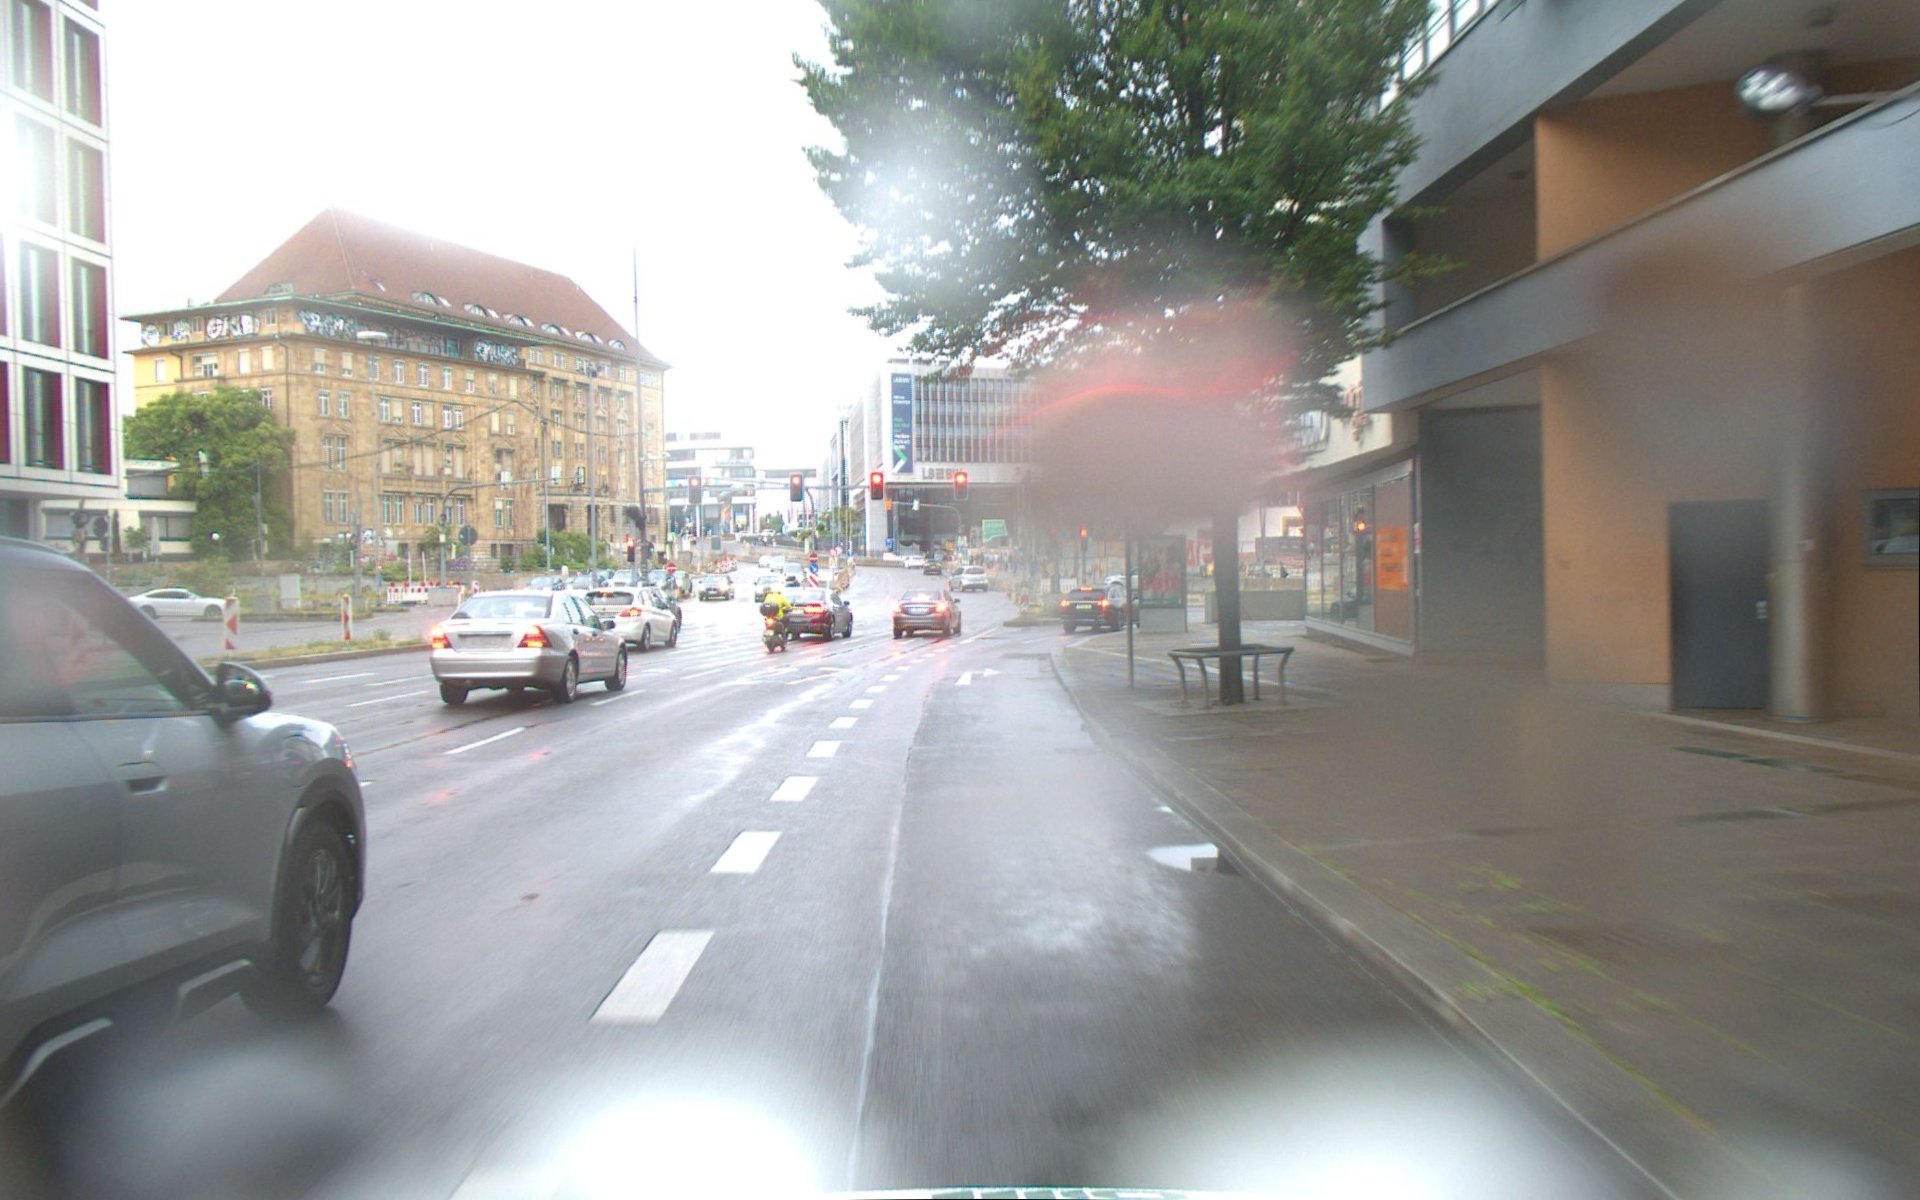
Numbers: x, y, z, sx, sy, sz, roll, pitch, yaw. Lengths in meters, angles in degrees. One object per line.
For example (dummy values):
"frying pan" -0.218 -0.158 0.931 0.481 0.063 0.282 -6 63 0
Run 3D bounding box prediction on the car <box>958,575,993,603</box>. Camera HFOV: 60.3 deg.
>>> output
"car" 0.968 -0.714 107.711 1.696 1.668 3.427 1 2 -10

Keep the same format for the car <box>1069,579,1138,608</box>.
"car" 8.486 -0.391 97.691 3.902 1.669 2.002 0 -1 12

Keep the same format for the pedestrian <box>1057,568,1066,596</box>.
"pedestrian" 7.044 -1.272 115.225 0.358 1.931 0.569 1 -1 -35

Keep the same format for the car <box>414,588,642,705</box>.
"car" -5.727 0.603 22.493 1.696 1.428 4.385 0 -1 4

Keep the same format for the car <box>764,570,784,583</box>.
"car" -20.584 -2.630 182.818 1.731 1.282 4.193 0 -1 0

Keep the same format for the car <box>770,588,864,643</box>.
"car" -4.176 0.462 49.058 1.847 1.541 5.005 0 -1 6

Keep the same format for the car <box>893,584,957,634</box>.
"car" -1.048 0.247 51.671 1.746 1.427 4.488 0 1 2

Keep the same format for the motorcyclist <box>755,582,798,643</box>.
"motorcyclist" -4.532 0.316 40.988 0.922 1.501 1.100 0 -1 1

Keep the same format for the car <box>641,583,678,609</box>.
"car" -18.951 -0.238 104.337 1.765 1.601 4.072 0 -1 -3

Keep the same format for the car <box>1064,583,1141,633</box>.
"car" 4.647 0.275 53.341 1.851 1.571 3.996 0 -1 14

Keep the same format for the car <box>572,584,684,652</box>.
"car" -8.400 0.456 42.177 1.696 1.644 4.002 0 -1 5

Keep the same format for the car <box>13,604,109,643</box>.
"car" -38.128 1.001 70.161 3.910 1.624 1.673 0 -1 27

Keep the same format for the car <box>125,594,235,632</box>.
"car" -35.963 0.621 76.407 4.311 1.691 1.990 1 -1 -17

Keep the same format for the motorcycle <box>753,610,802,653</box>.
"motorcycle" -4.507 0.763 40.916 0.922 1.006 2.294 0 0 1

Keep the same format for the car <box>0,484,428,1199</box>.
"car" -2.990 0.597 4.450 1.771 1.690 4.170 0 -1 0

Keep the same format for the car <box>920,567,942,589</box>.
"car" -2.844 -2.152 162.215 1.954 2.049 3.997 0 -1 -4

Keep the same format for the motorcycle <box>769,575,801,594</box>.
"motorcycle" -10.907 -0.944 103.040 0.834 1.128 2.136 0 -1 34

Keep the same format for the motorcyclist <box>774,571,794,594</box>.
"motorcyclist" -10.954 -1.074 102.956 0.832 1.382 0.945 0 -1 35

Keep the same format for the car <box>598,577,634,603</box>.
"car" -22.751 -0.658 109.489 1.663 1.601 3.998 0 -1 -3

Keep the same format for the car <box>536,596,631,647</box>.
"car" -10.966 0.631 48.402 1.746 1.397 3.994 0 -1 2

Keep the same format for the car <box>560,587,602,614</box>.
"car" -22.692 0.054 99.117 1.663 1.545 3.874 -2 0 -1

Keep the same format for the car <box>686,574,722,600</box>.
"car" -15.497 -0.823 100.246 1.785 1.512 3.998 -1 1 -3

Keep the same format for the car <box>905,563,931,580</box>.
"car" -4.928 -3.291 193.831 1.965 1.848 3.975 1 -1 -20

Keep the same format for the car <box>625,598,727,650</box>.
"car" -9.286 0.780 54.378 1.745 1.628 4.075 0 -1 15
